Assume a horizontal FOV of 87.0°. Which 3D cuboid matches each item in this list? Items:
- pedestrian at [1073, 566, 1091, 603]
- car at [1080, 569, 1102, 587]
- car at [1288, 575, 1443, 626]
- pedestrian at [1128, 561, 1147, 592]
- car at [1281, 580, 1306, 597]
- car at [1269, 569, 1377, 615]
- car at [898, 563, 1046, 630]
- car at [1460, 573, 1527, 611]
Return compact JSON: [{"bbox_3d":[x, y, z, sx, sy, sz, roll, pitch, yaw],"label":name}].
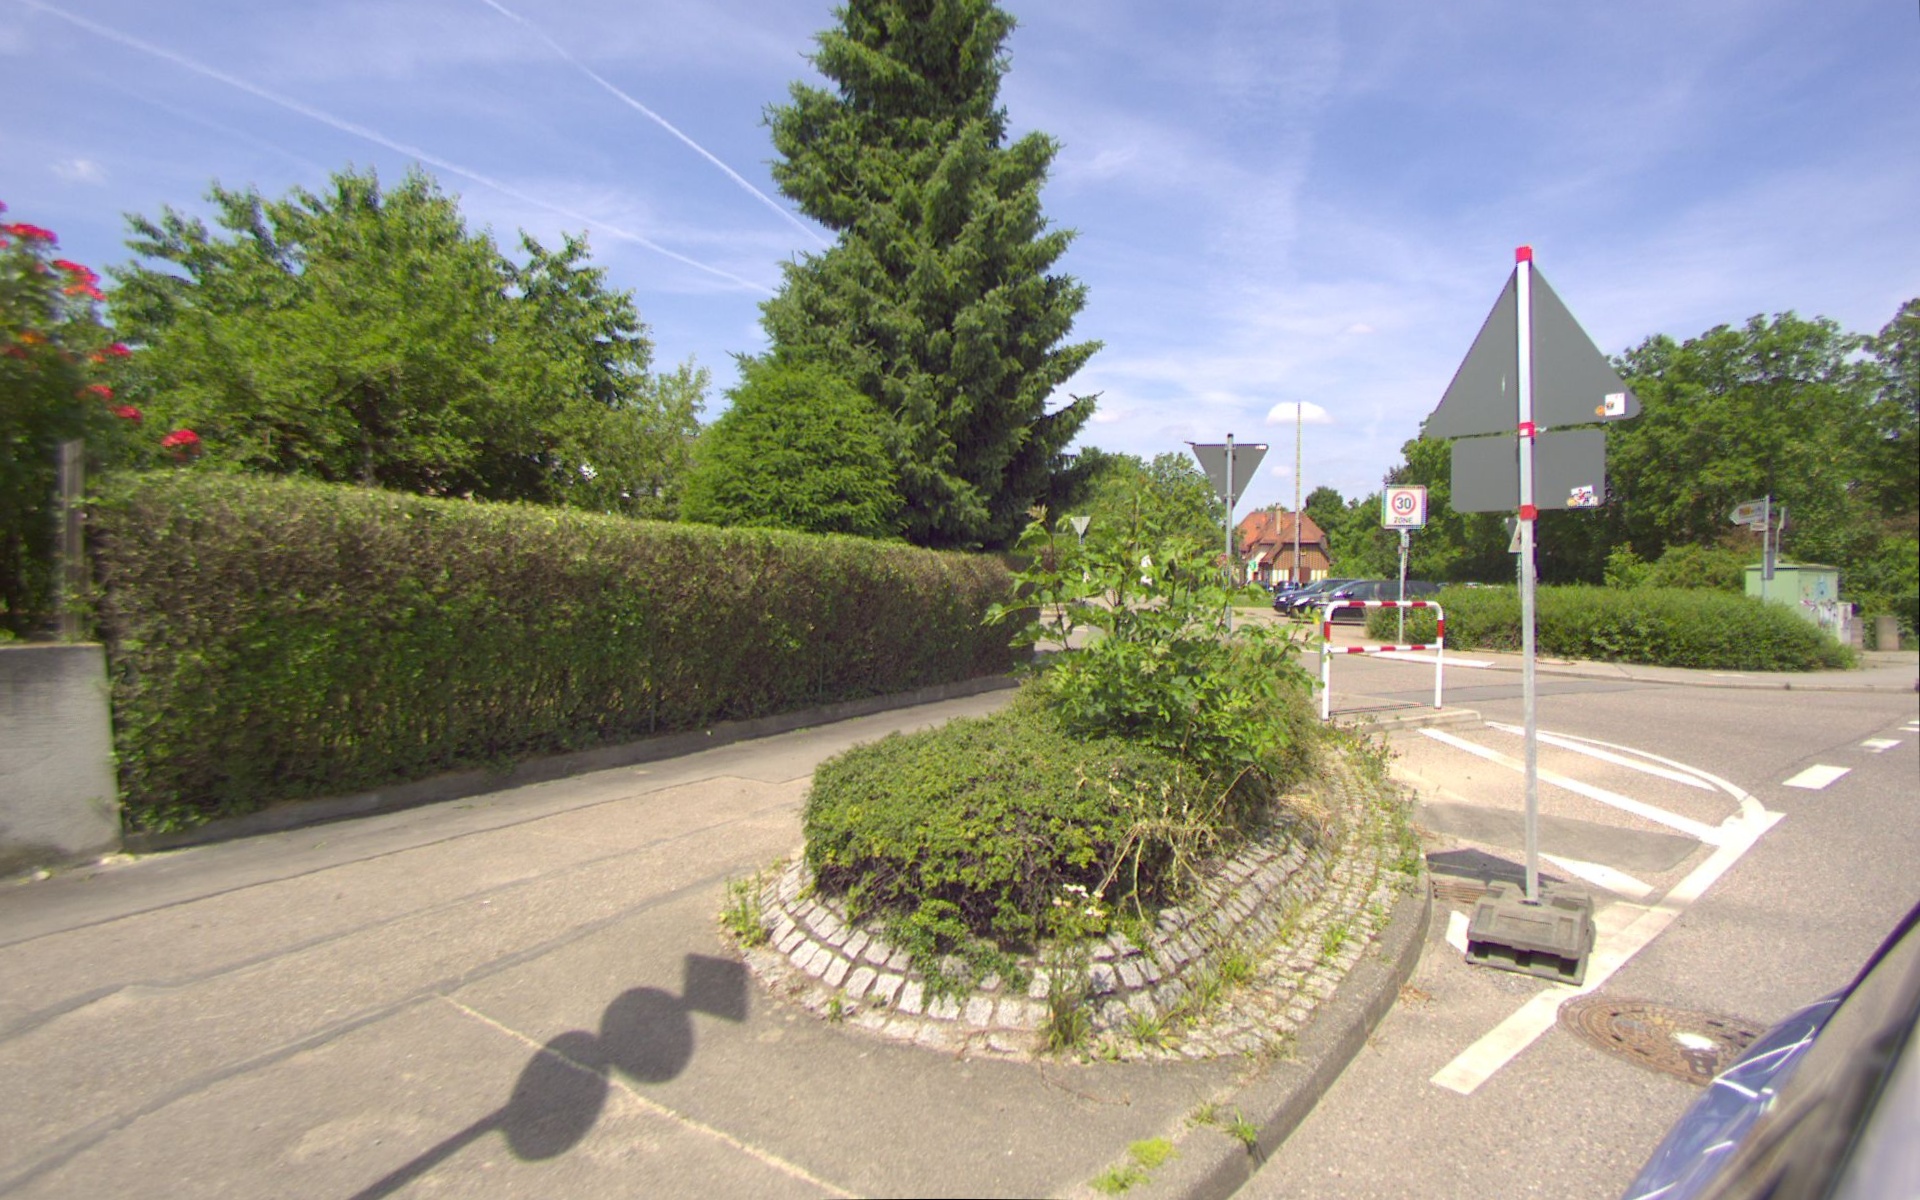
[{"bbox_3d":[5.505,-0.721,45.718,0.766,1.625,0.798,2,1,7],"label":"pedestrian"},{"bbox_3d":[12.786,-2.170,98.980,1.965,1.748,3.994,2,2,6],"label":"car"},{"bbox_3d":[12.481,-0.009,31.364,4.218,1.416,1.396,2,1,12],"label":"car"},{"bbox_3d":[11.875,-1.575,67.643,1.090,2.038,1.004,2,1,19],"label":"pedestrian"},{"bbox_3d":[28.621,-1.009,86.968,1.814,1.433,3.982,2,2,15],"label":"car"},{"bbox_3d":[13.091,-0.309,36.601,3.374,1.503,1.415,2,2,6],"label":"car"},{"bbox_3d":[0.260,-0.154,26.654,1.744,1.574,3.906,-2,3,-42],"label":"car"},{"bbox_3d":[24.601,-0.401,46.791,1.581,1.638,3.727,1,1,10],"label":"car"}]
